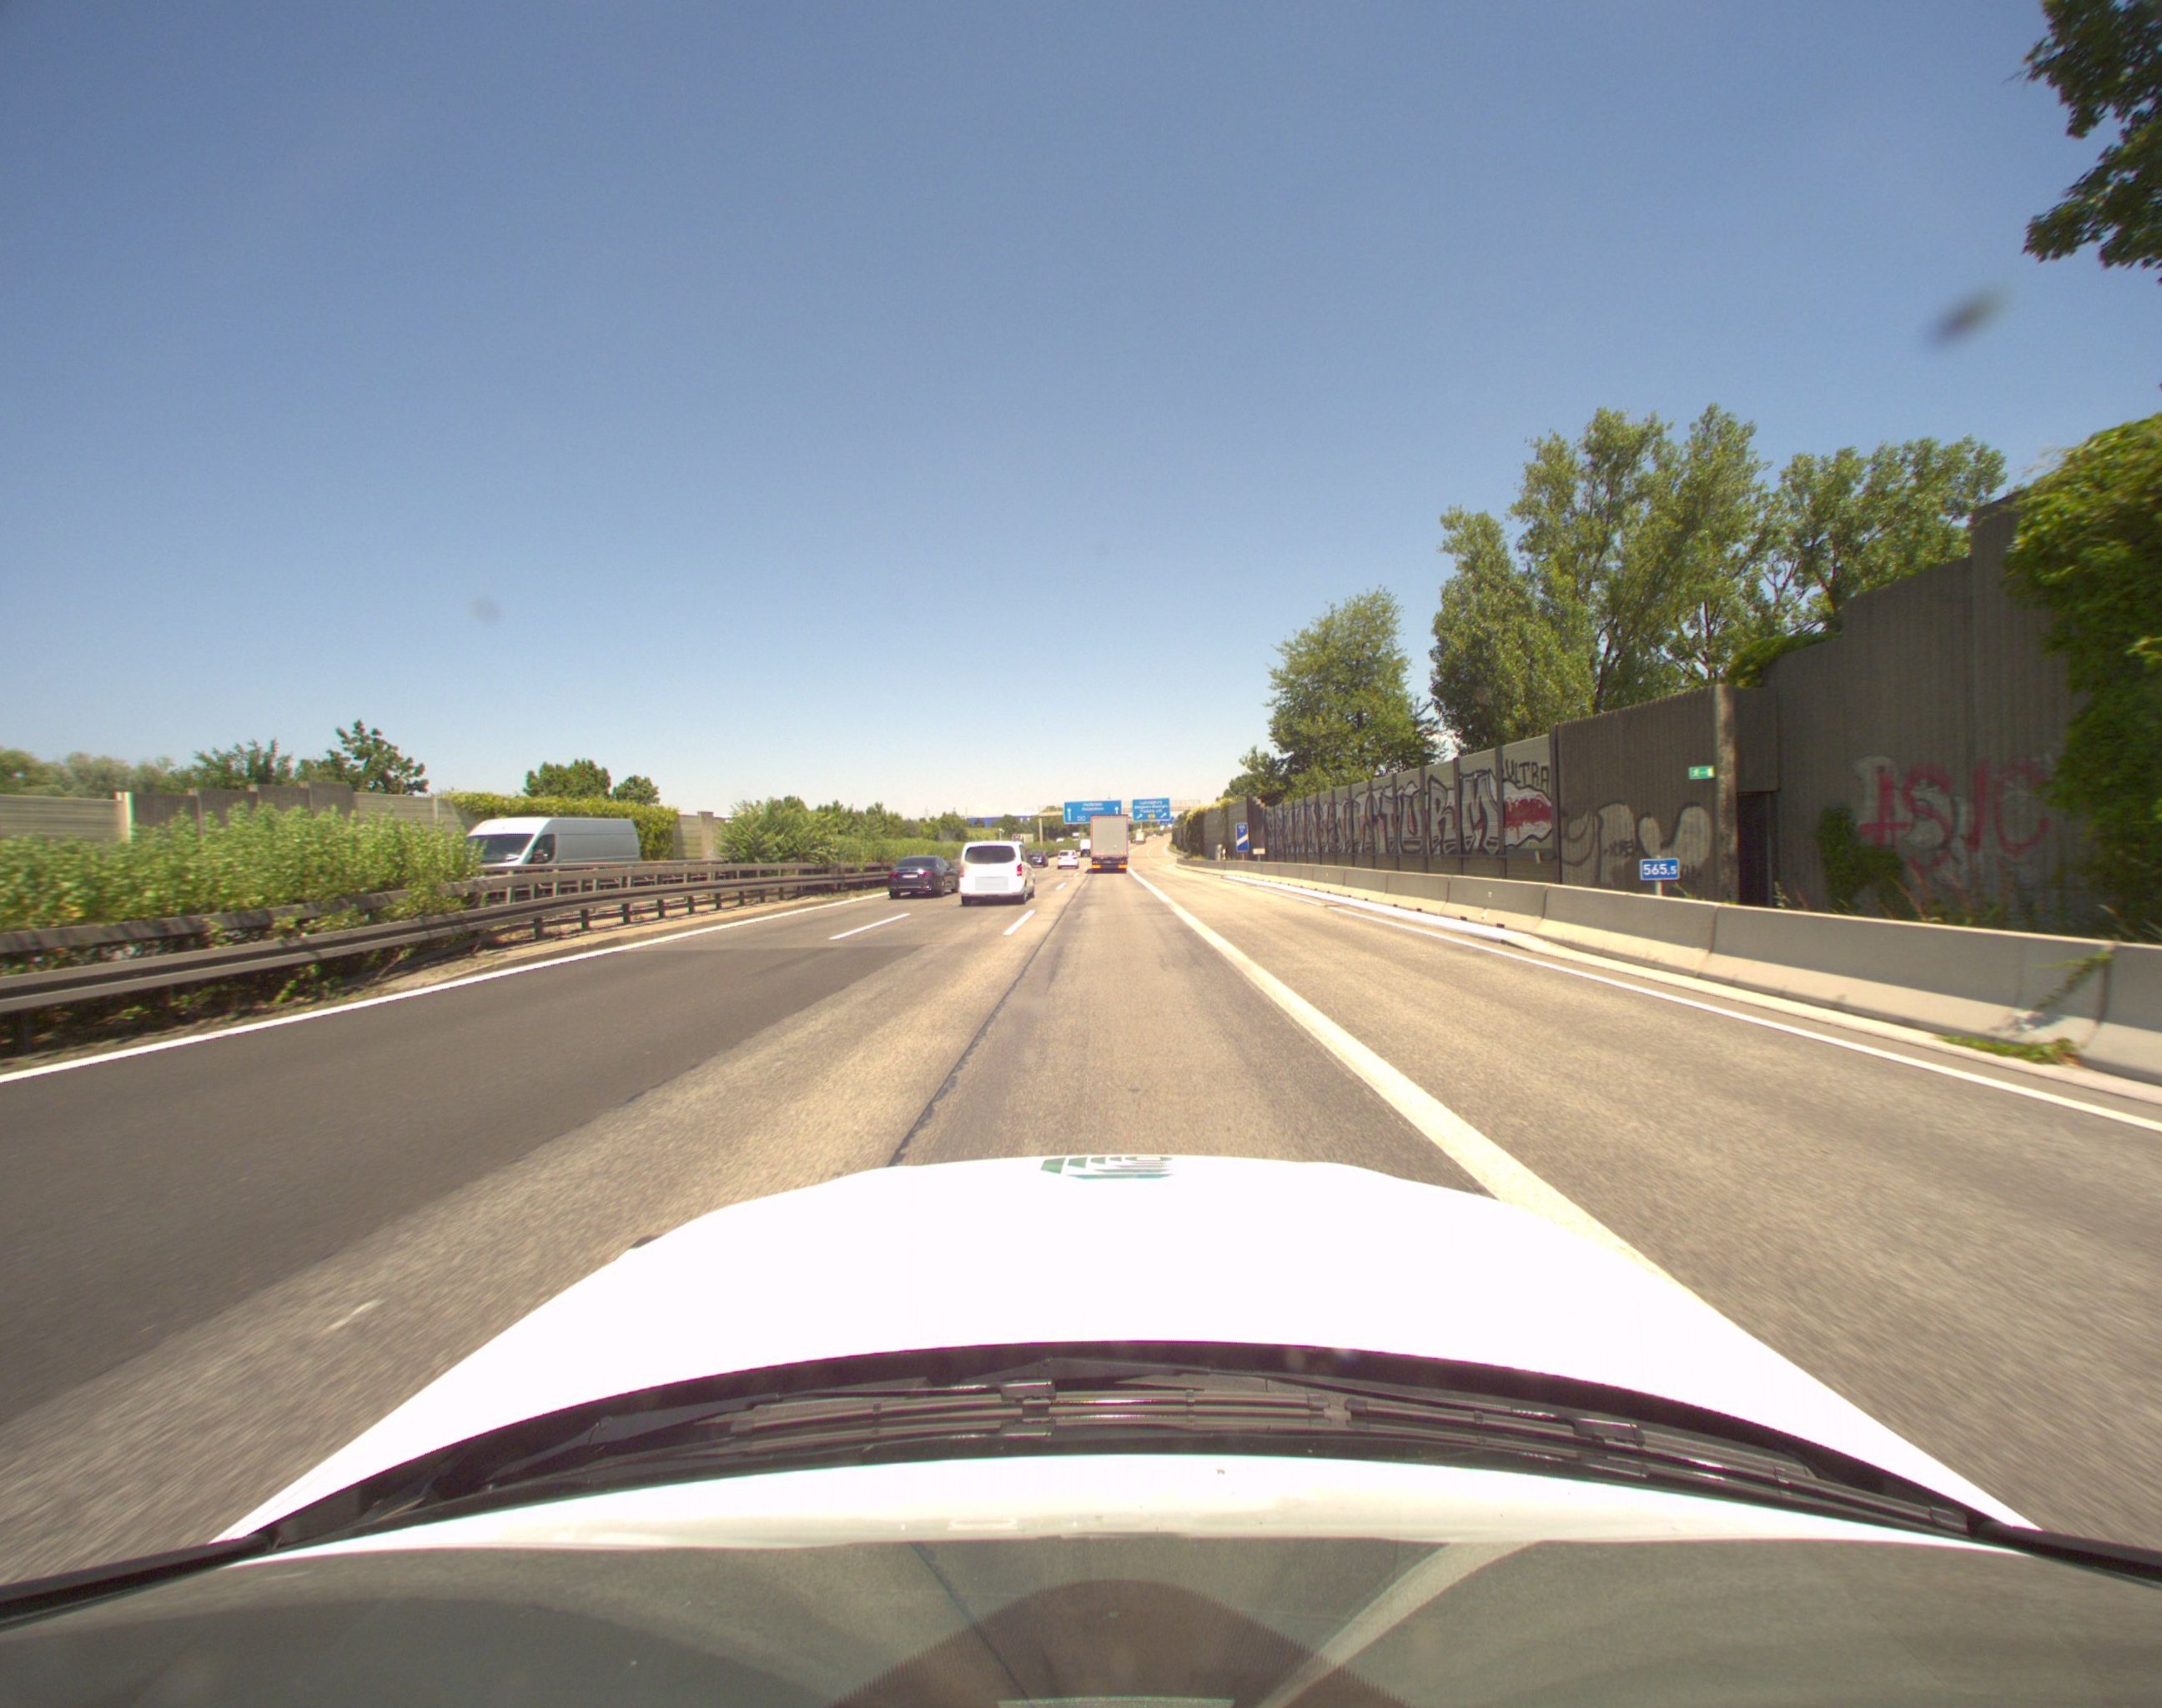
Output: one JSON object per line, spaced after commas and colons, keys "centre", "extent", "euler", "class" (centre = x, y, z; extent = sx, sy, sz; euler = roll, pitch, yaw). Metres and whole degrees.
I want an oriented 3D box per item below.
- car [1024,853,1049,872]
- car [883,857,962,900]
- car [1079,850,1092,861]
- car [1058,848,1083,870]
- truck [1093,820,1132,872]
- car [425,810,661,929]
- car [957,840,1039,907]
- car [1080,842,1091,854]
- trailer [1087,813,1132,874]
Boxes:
{"centre": [-4.167, 0.789, 77.001], "extent": [1.897, 1.689, 4.633], "euler": [-1, 0, 2], "class": "car"}
{"centre": [-5.760, 0.846, 30.214], "extent": [1.750, 1.408, 5.041], "euler": [-1, 0, 2], "class": "car"}
{"centre": [0.688, 0.195, 130.896], "extent": [1.897, 1.689, 4.633], "euler": [-1, 0, 2], "class": "car"}
{"centre": [-0.886, 0.435, 70.955], "extent": [1.897, 1.851, 4.633], "euler": [-1, 0, 2], "class": "car"}
{"centre": [2.692, -0.654, 67.820], "extent": [2.916, 4.015, 7.589], "euler": [-1, 0, 3], "class": "truck"}
{"centre": [-14.280, 0.358, 22.301], "extent": [2.233, 2.758, 6.220], "euler": [-1, 0, 0], "class": "car"}
{"centre": [-2.463, 0.552, 25.343], "extent": [1.923, 1.851, 4.694], "euler": [-1, 0, 2], "class": "car"}
{"centre": [0.939, -1.149, 164.435], "extent": [1.986, 2.374, 4.001], "euler": [-1, -1, 1], "class": "car"}
{"centre": [2.248, -0.683, 60.234], "extent": [2.916, 4.015, 12.048], "euler": [-1, 0, 3], "class": "trailer"}
